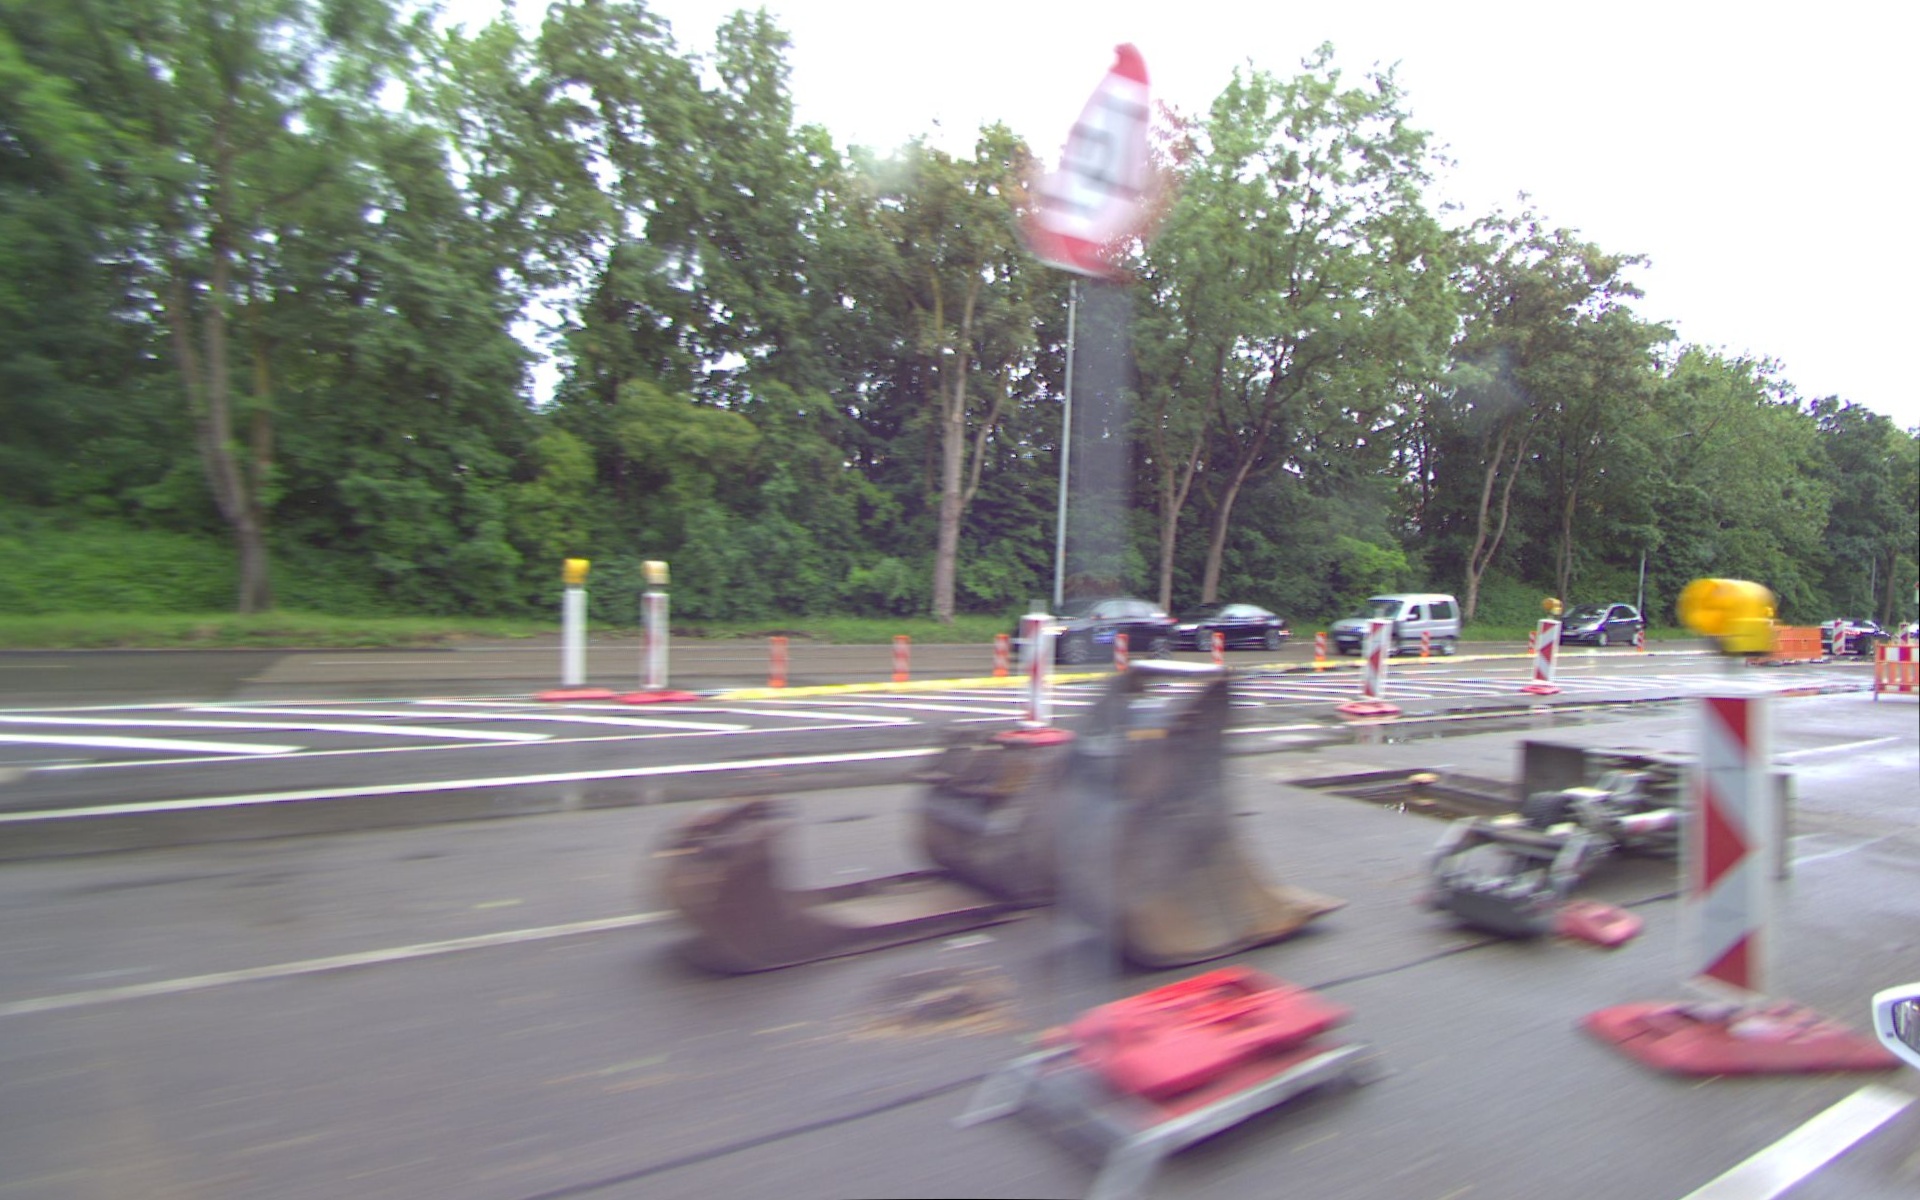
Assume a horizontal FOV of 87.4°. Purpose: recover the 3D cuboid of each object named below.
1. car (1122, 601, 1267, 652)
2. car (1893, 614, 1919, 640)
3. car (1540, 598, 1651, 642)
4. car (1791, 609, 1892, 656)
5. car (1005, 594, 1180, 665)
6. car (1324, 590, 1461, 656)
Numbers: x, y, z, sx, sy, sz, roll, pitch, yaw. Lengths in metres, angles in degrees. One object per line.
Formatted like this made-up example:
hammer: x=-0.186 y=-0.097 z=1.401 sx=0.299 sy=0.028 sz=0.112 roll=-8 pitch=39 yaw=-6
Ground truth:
car: x=6.547 y=0.726 z=27.858 sx=4.183 sy=1.280 sz=1.419 roll=1 pitch=1 yaw=-33
car: x=66.855 y=1.877 z=69.701 sx=4.599 sy=1.687 sz=1.917 roll=1 pitch=0 yaw=-31
car: x=25.718 y=0.815 z=40.609 sx=4.599 sy=1.687 sz=1.917 roll=1 pitch=0 yaw=-31
car: x=34.199 y=1.210 z=38.954 sx=3.955 sy=1.512 sz=1.851 roll=-2 pitch=4 yaw=-32
car: x=2.921 y=0.628 z=21.804 sx=3.785 sy=1.426 sz=1.418 roll=1 pitch=0 yaw=-34
car: x=12.027 y=0.624 z=27.860 sx=4.084 sy=1.718 sz=1.419 roll=1 pitch=0 yaw=-32
